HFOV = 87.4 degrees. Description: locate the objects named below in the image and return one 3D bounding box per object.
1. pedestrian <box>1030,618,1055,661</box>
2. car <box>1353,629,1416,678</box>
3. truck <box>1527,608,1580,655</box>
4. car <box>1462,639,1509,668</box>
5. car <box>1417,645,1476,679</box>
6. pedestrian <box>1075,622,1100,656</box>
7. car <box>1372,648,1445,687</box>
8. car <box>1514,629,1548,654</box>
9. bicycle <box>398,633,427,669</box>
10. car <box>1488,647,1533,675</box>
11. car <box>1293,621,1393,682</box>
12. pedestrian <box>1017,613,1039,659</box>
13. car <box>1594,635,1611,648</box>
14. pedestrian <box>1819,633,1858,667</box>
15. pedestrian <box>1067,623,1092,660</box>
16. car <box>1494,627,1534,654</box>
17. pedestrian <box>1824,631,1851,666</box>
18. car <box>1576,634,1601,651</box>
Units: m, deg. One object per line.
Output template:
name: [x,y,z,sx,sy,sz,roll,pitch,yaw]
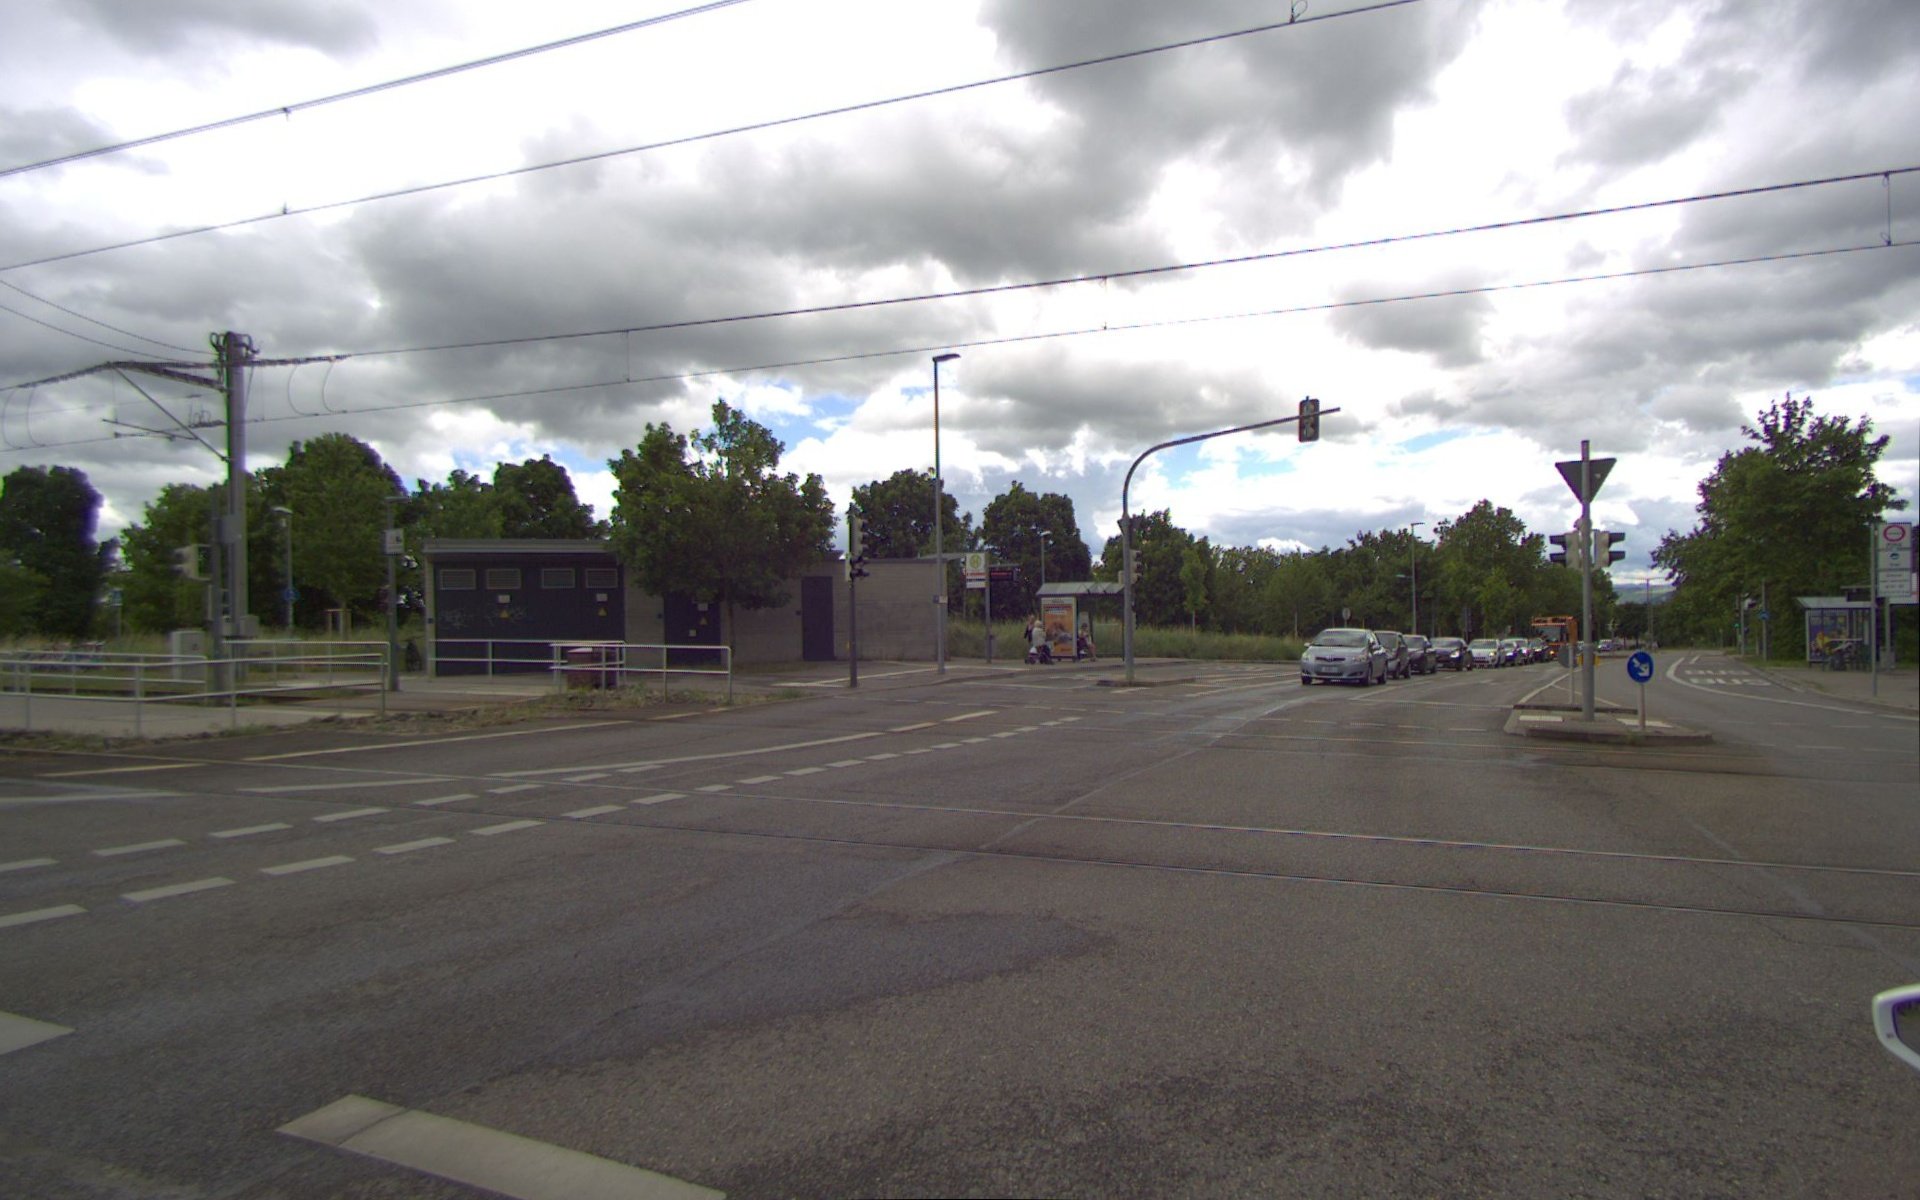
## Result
pedestrian: [2.690,1.266,32.680,0.541,1.381,0.773,-1,-1,28]
car: [14.098,1.755,33.288,1.409,1.547,2.767,-2,-2,33]
truck: [47.503,2.502,80.242,2.671,3.533,9.959,-2,-3,36]
car: [27.158,2.750,51.839,1.618,1.409,3.750,-2,-3,35]
car: [20.935,2.641,43.180,1.618,1.349,4.047,-2,-3,35]
pedestrian: [4.761,1.445,37.471,0.760,1.243,0.550,-1,-1,28]
car: [17.084,2.524,38.143,1.775,1.349,4.367,-2,-3,34]
car: [38.876,2.824,68.346,1.618,1.606,4.047,-2,-3,35]
bicycle: [-18.075,1.652,33.187,0.669,1.120,2.243,1,-1,-24]
car: [30.934,3.388,56.376,1.618,1.409,4.869,-2,-3,35]
car: [10.607,1.389,27.643,1.801,1.556,4.210,-2,-2,32]
pedestrian: [2.562,1.347,37.851,0.630,1.692,0.547,0,-1,-27]
car: [90.686,5.872,141.749,1.822,1.827,4.636,-4,-4,35]
pedestrian: [33.001,1.875,37.752,0.761,1.269,0.772,0,-1,-5]
pedestrian: [4.307,1.488,36.207,0.760,1.348,0.550,-1,-1,28]
car: [34.462,2.527,62.423,1.708,1.606,4.209,-2,-3,35]
pedestrian: [33.872,1.872,38.787,0.719,1.333,0.586,-1,-2,38]
car: [62.642,4.255,100.089,1.822,1.540,4.801,-4,-4,35]
